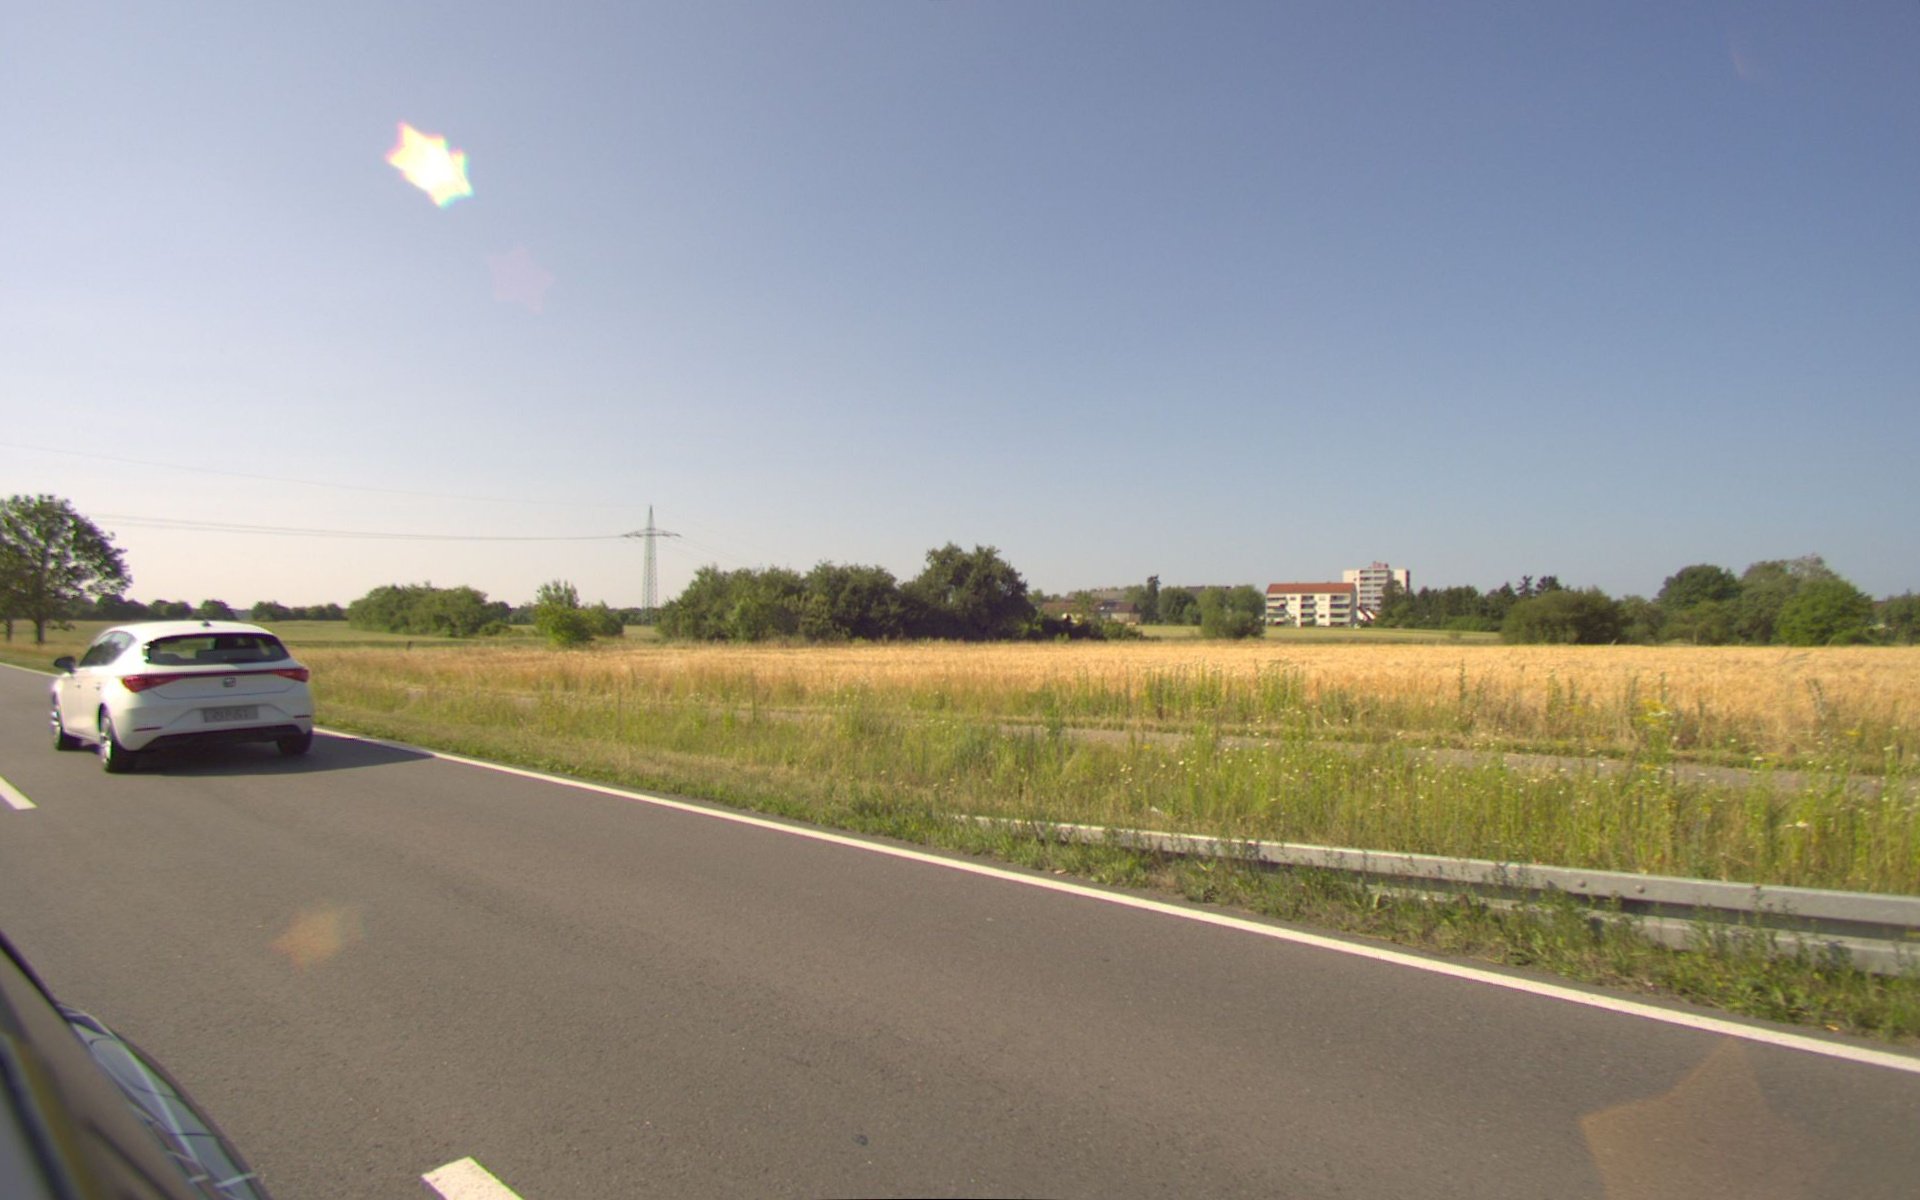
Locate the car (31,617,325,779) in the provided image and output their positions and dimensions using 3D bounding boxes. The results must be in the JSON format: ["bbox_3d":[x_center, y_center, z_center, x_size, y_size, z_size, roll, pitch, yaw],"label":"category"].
[{"bbox_3d":[-8.780,0.944,11.206,4.513,1.448,1.709,-2,-2,41],"label":"car"}]
